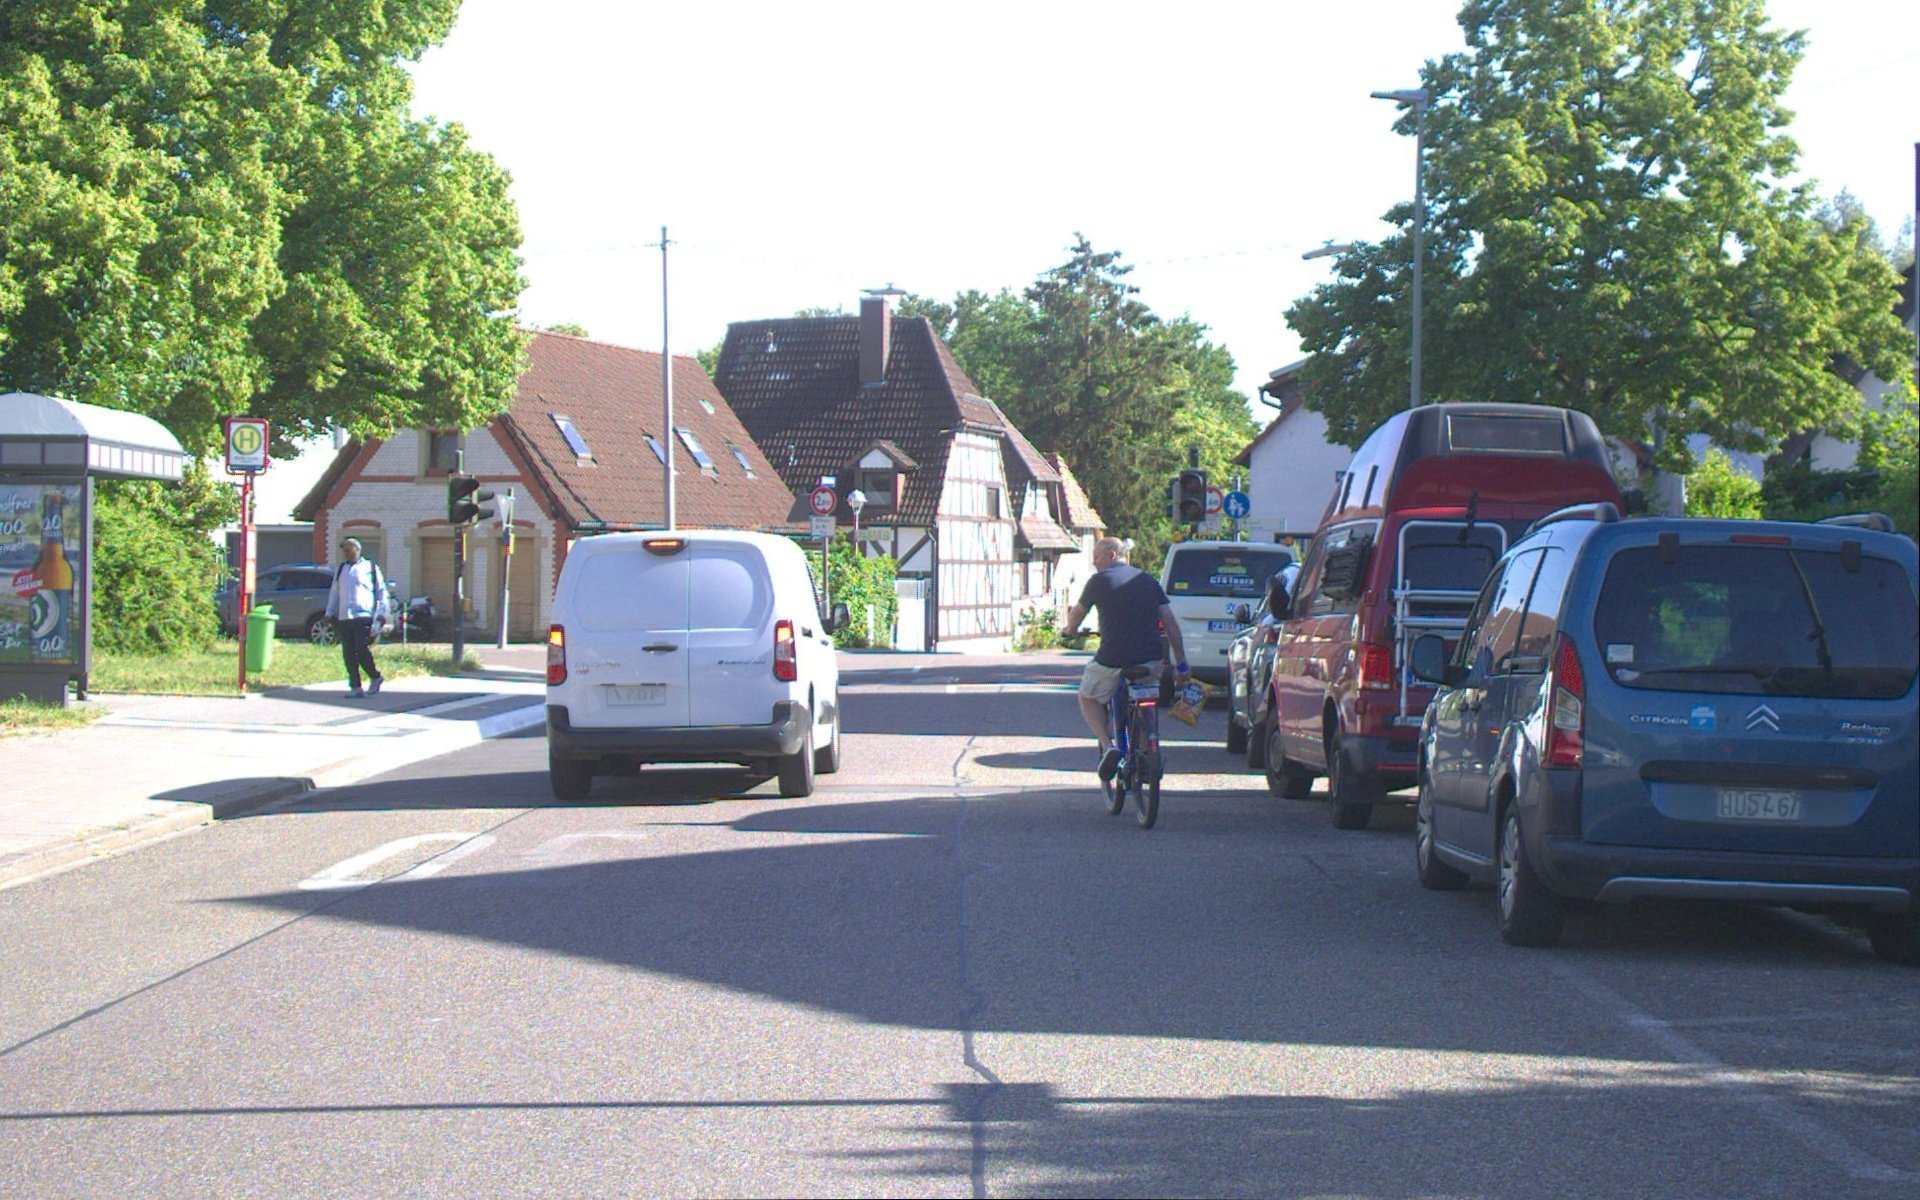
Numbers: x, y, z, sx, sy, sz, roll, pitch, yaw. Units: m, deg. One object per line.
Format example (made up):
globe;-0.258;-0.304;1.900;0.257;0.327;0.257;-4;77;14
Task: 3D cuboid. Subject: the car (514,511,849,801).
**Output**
car;-1.905;0.358;24.815;1.993;1.875;4.289;-1;0;1

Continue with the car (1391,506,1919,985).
car;3.127;0.560;15.255;1.804;1.779;4.000;3;0;-1

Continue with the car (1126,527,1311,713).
car;3.080;0.221;41.692;1.804;2.061;4.000;3;0;-1

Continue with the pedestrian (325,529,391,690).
pedestrian;-6.821;0.107;38.974;0.621;1.799;0.640;1;0;-1

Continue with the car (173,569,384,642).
car;-14.167;0.103;71.497;3.981;1.424;1.714;1;1;19

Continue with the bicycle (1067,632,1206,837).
bicycle;1.080;0.799;21.349;0.787;1.135;2.280;1;1;2

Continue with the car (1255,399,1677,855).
car;3.136;0.147;22.292;1.866;2.553;4.768;3;0;-1

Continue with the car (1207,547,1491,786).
car;3.177;0.512;28.823;1.804;1.779;4.000;3;0;-1

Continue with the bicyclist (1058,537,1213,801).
bicyclist;1.081;0.415;21.297;0.905;1.579;0.966;1;0;2
